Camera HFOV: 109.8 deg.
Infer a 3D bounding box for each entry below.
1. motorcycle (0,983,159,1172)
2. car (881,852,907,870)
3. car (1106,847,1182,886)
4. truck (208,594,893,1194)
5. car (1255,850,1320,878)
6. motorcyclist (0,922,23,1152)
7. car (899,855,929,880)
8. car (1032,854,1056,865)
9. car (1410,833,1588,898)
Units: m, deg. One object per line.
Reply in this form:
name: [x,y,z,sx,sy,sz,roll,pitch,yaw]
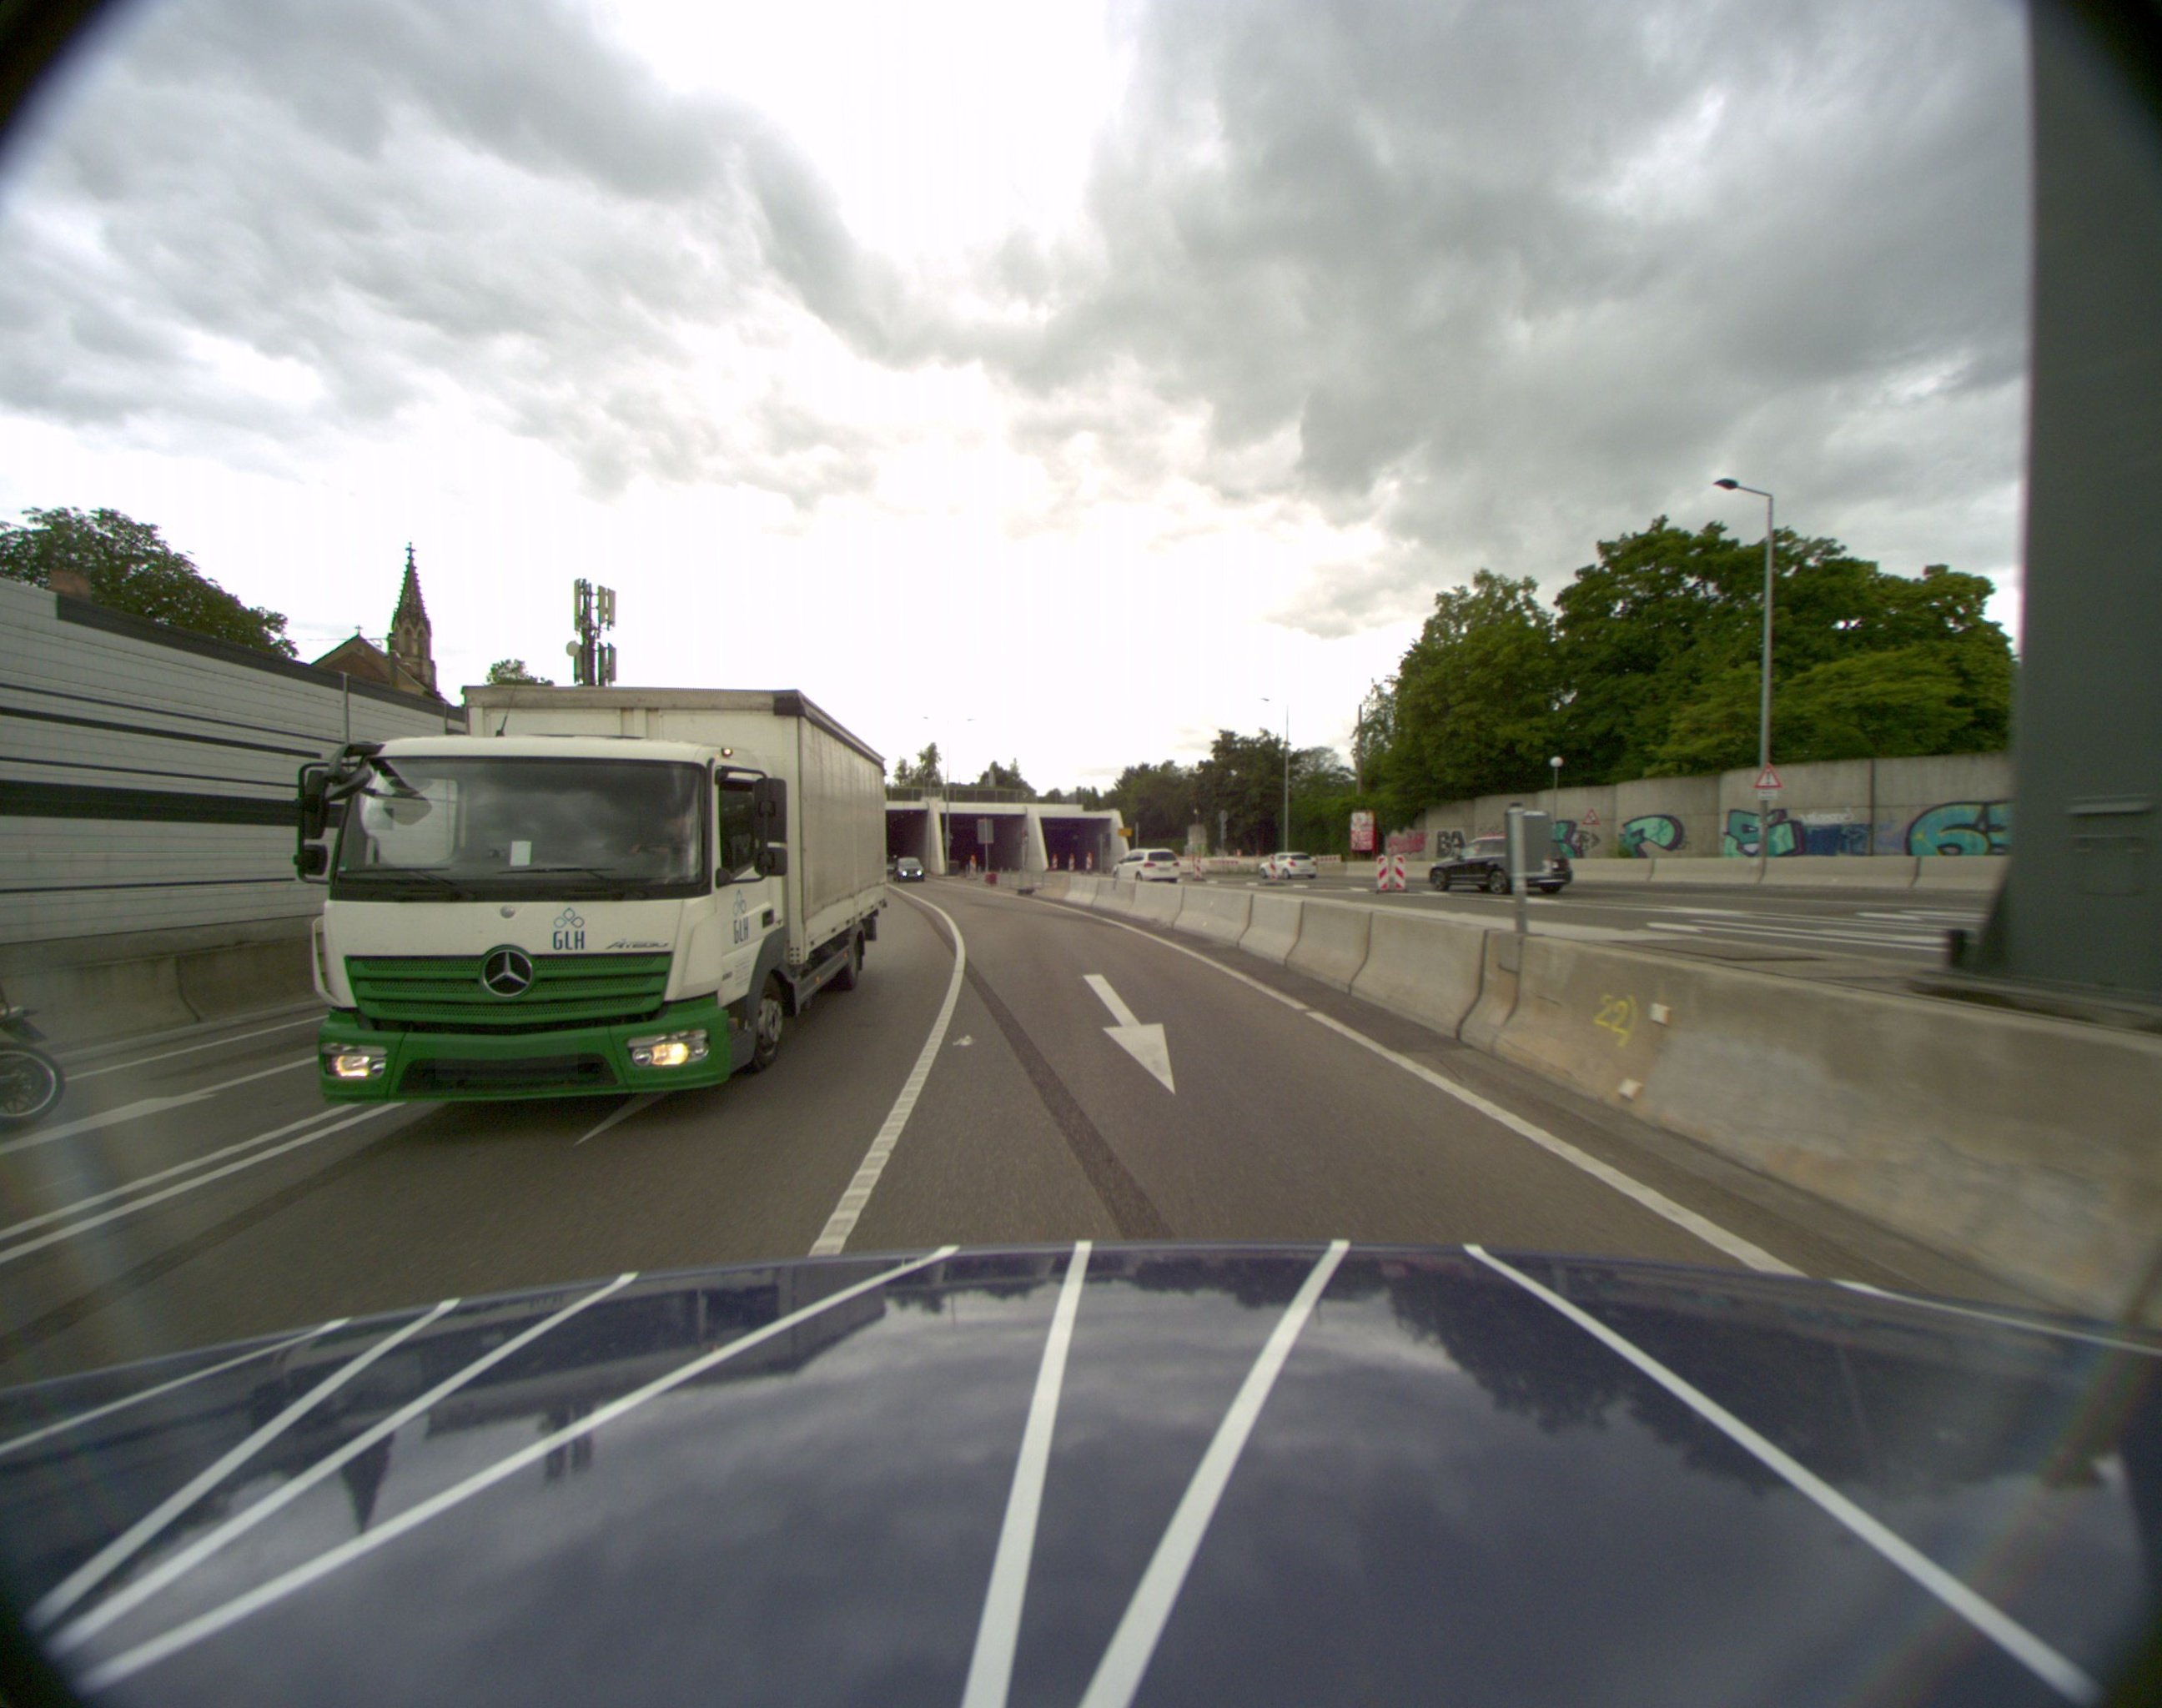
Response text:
motorcycle: [-7.389,1.543,4.486,0.746,1.077,2.663,-1,1,-4]
car: [-16.136,0.631,65.397,1.830,1.437,3.994,-2,0,-18]
car: [2.969,0.557,36.977,1.957,1.740,5.266,-1,1,-16]
truck: [-3.782,0.195,7.916,2.638,3.220,7.410,0,1,-7]
car: [11.408,0.524,42.294,1.766,1.426,4.139,-1,1,-13]
motorcyclist: [-7.410,1.190,4.488,0.915,1.468,0.966,-1,0,-4]
car: [-10.586,0.834,48.059,1.724,1.455,3.994,0,1,-15]
car: [-4.697,0.637,96.528,1.871,1.342,4.188,-1,1,-19]
car: [12.360,0.308,22.943,2.000,1.685,4.922,-2,0,-11]
